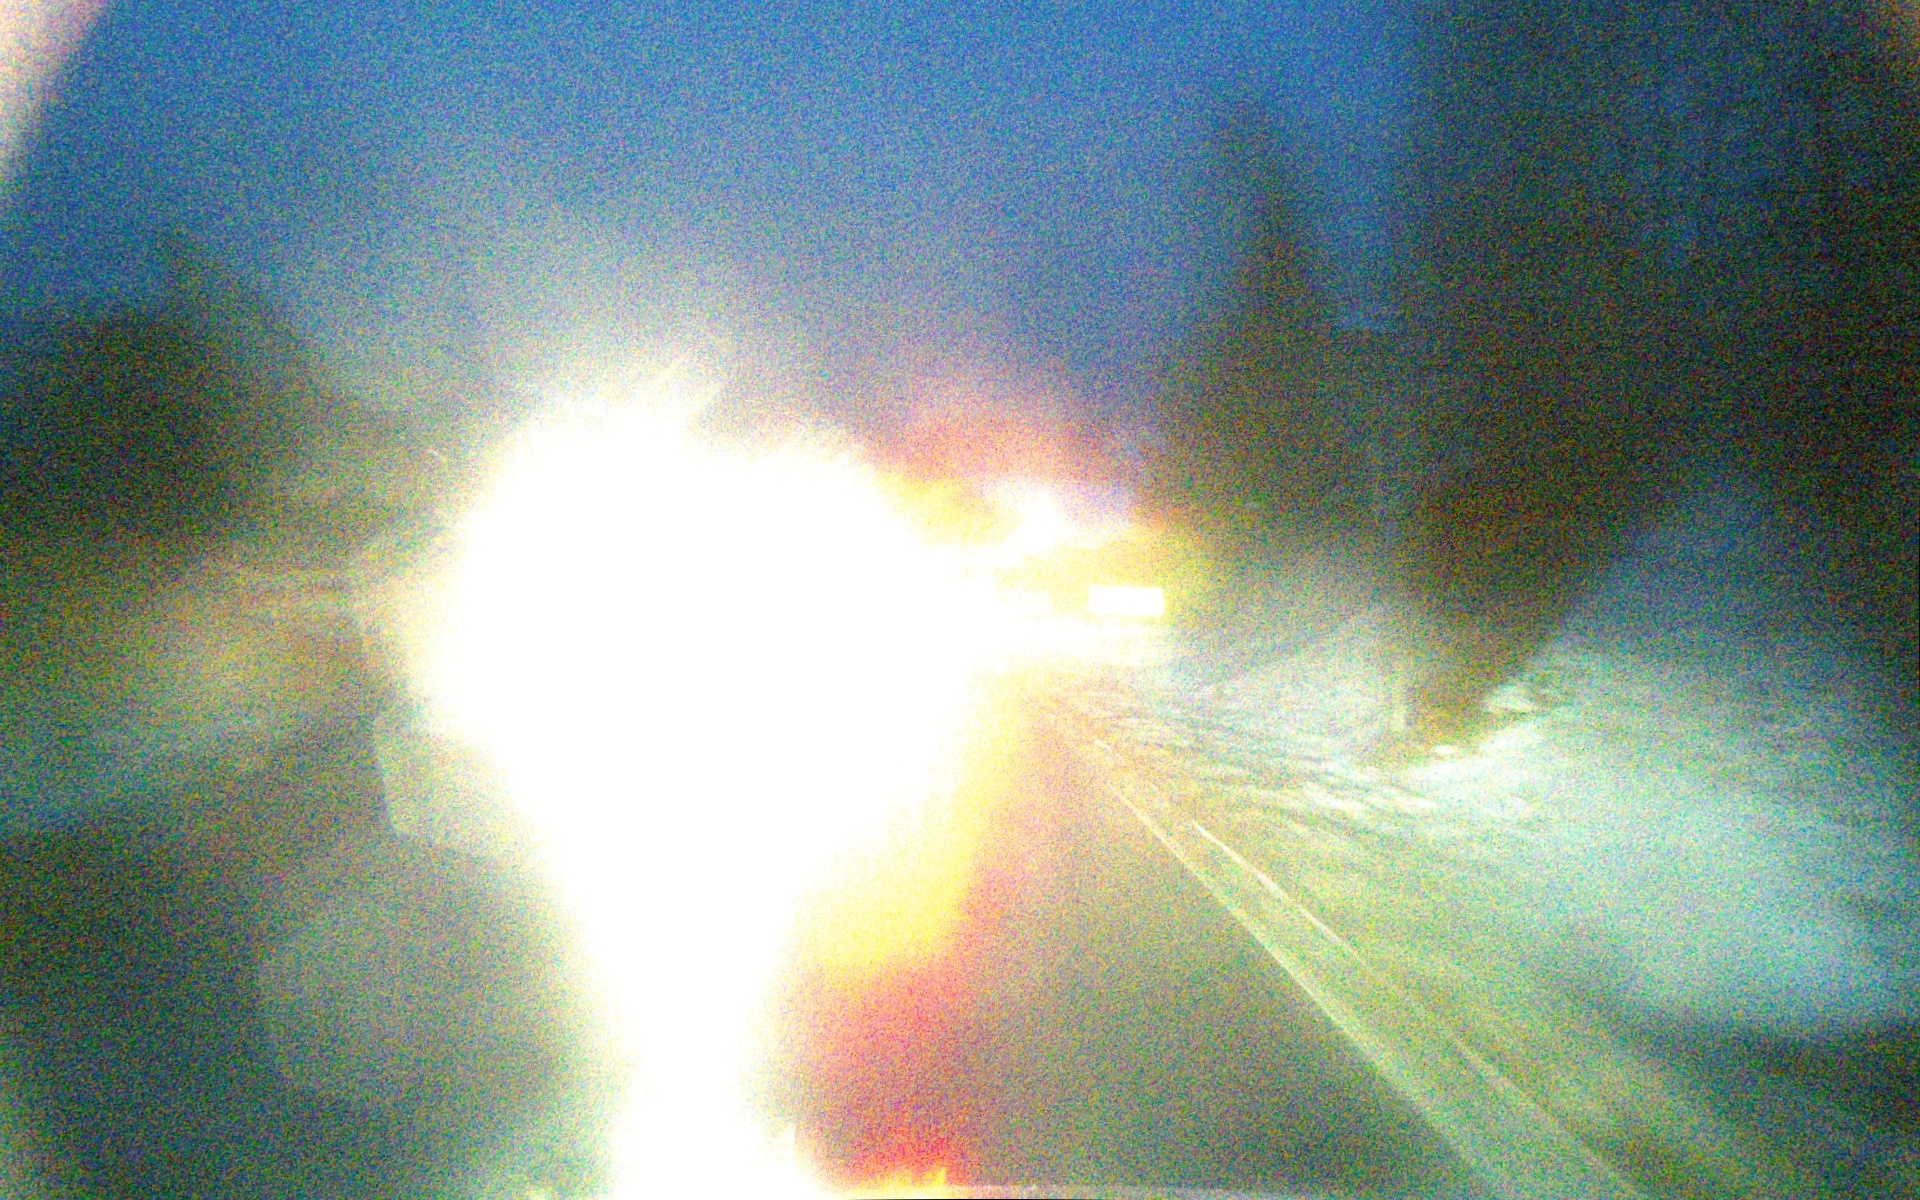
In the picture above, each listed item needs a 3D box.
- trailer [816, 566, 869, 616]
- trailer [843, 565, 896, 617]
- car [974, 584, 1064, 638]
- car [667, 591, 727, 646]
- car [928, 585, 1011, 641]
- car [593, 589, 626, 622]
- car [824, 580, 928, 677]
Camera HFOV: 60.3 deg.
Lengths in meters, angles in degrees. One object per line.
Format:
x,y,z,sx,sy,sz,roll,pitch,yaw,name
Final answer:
-6.114,-0.479,85.456,1.604,2.406,4.630,3,0,-17,trailer
-4.455,-0.431,80.831,1.579,2.393,4.412,3,0,-15,trailer
2.074,0.381,59.819,1.850,1.841,4.132,1,0,-19,car
-9.210,0.615,57.780,1.941,1.809,3.991,1,0,-10,car
0.338,0.484,64.735,1.850,2.076,4.365,1,0,-20,car
-23.033,0.362,108.550,1.886,2.093,4.870,1,0,-14,car
-1.547,0.481,30.432,1.766,1.657,3.613,1,0,-3,car
